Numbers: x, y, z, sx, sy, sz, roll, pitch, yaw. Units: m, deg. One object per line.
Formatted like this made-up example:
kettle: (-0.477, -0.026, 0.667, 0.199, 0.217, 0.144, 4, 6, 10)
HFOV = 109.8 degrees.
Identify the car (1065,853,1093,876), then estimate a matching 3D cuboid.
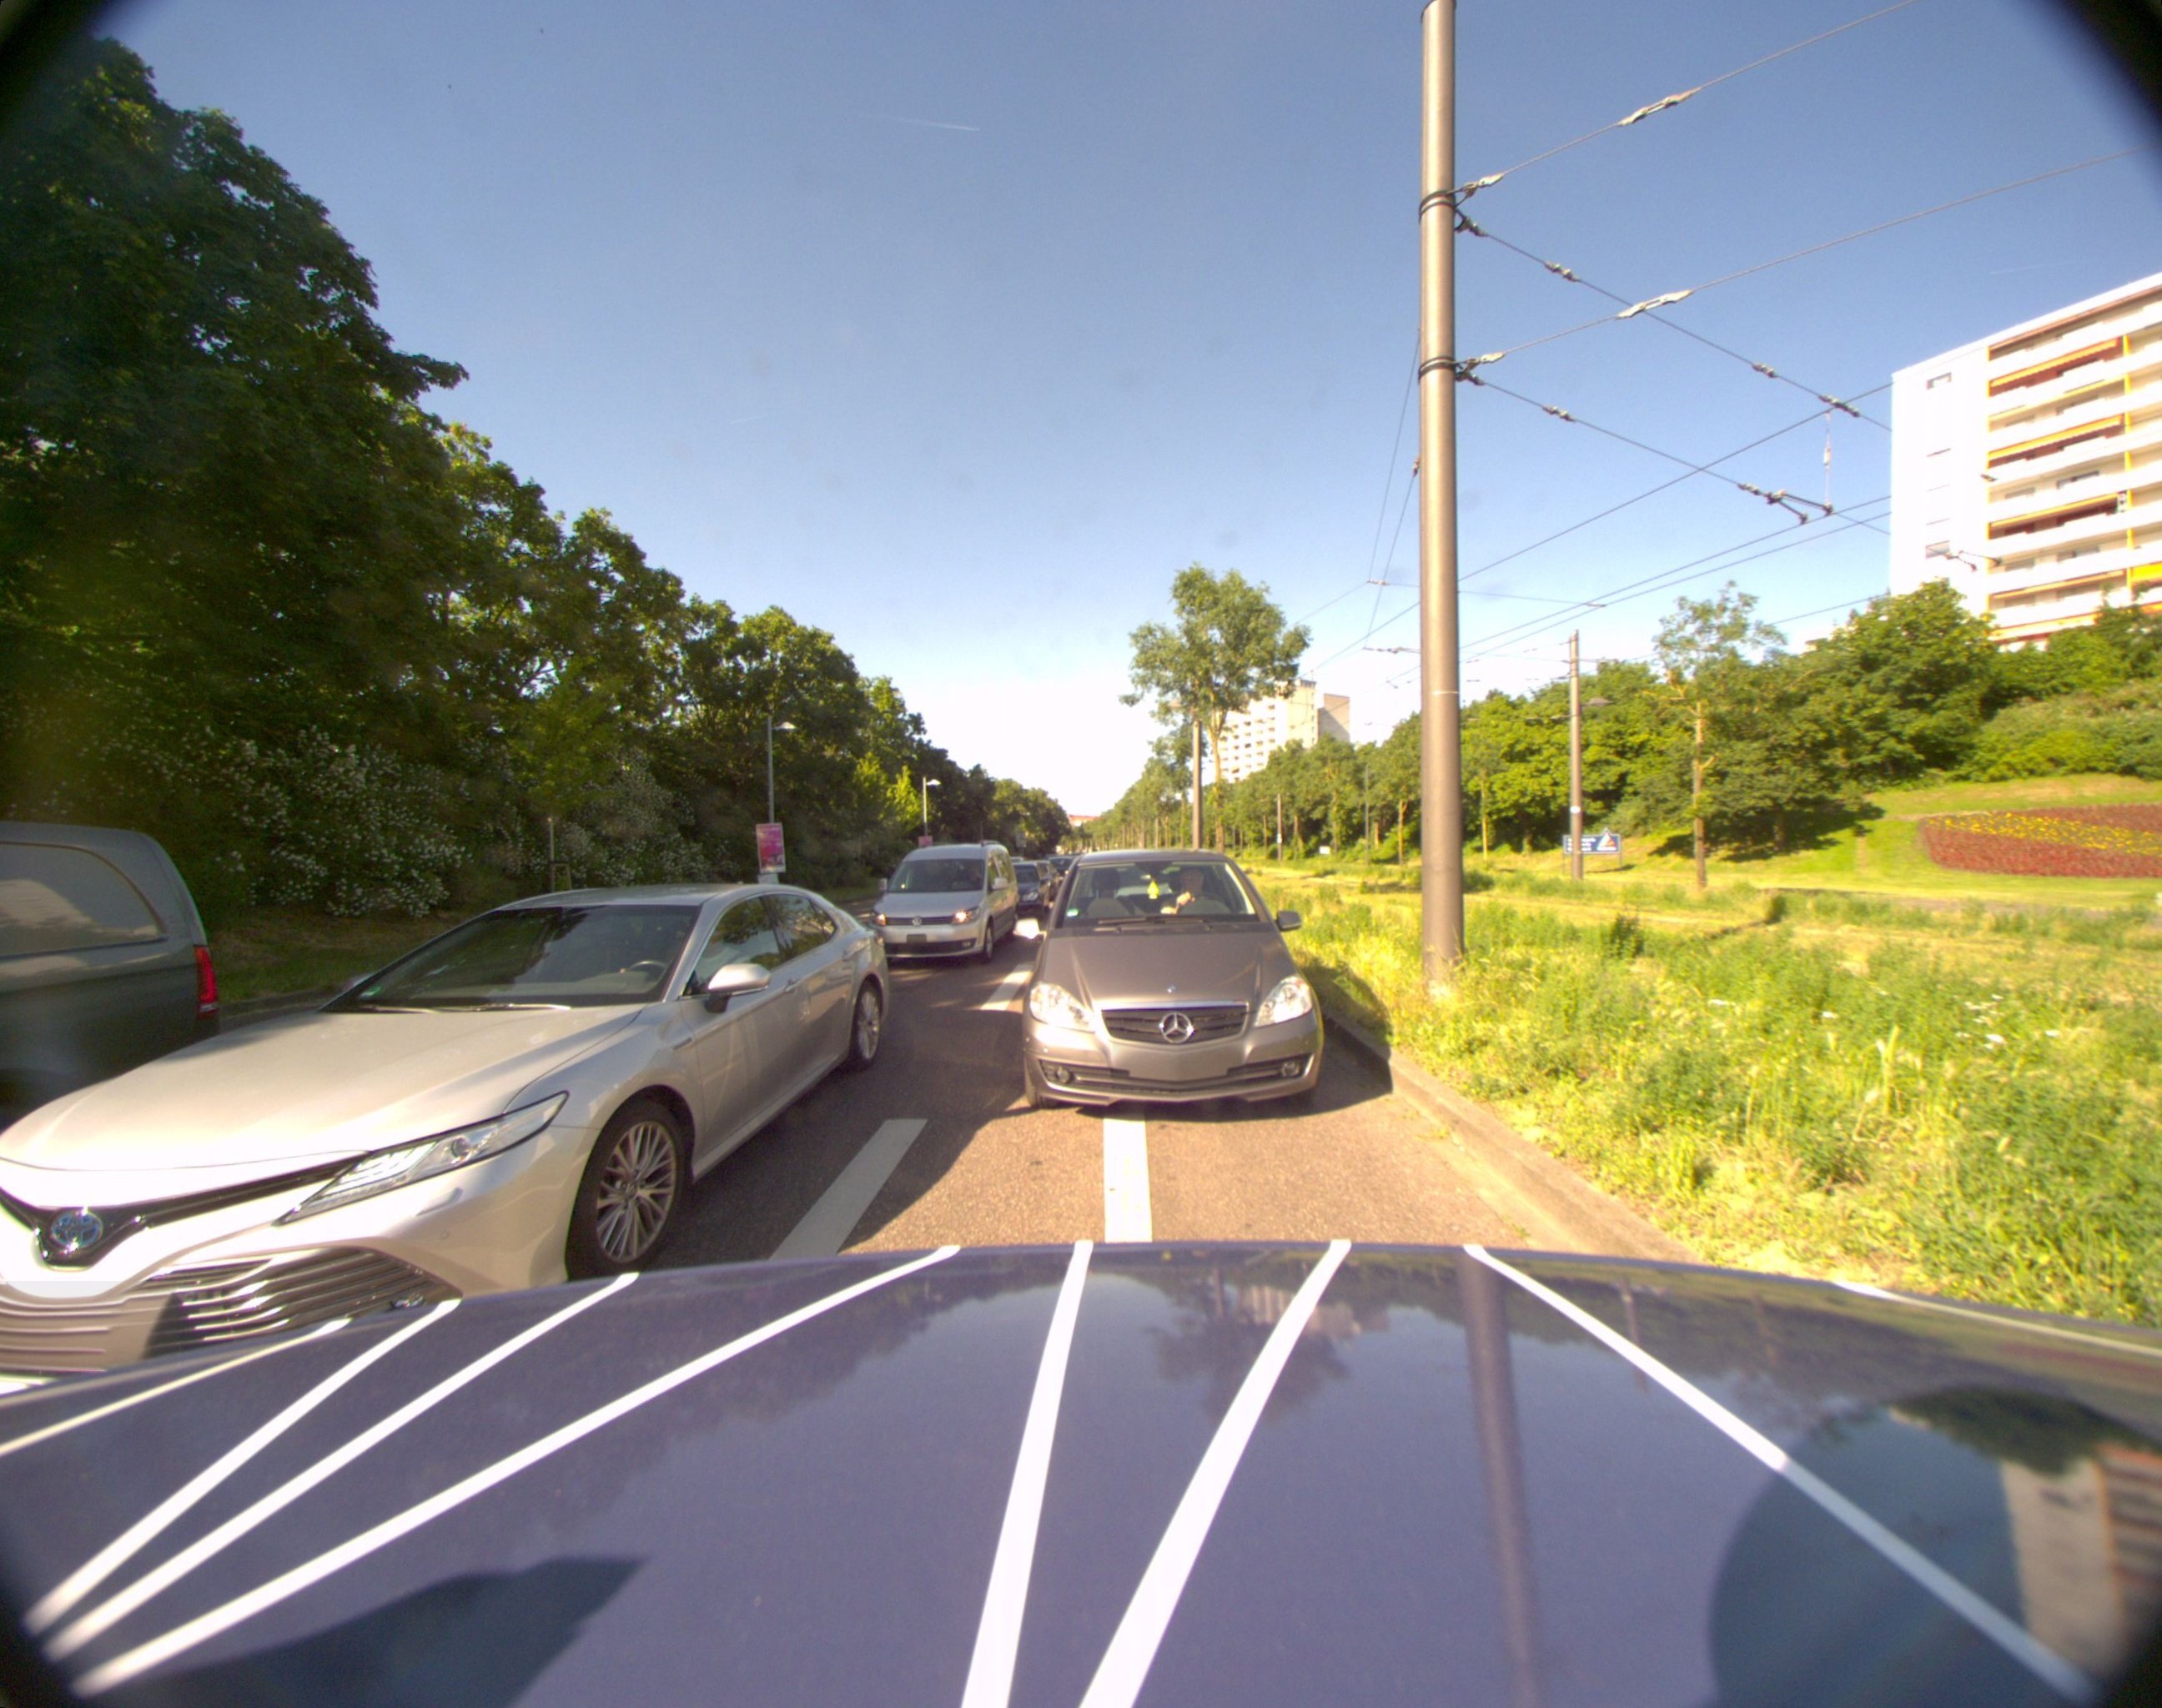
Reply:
car: (-0.079, 0.652, 50.711, 1.713, 1.430, 4.171, -2, 0, 1)

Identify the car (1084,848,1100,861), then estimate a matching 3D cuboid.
car: (1.336, 0.038, 90.836, 1.685, 1.437, 3.727, -2, 1, 2)

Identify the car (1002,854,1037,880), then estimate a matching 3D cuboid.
car: (-3.724, 0.775, 46.644, 1.713, 1.430, 4.171, -2, 0, 1)

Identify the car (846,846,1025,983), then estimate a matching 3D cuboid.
car: (-2.153, 0.804, 12.630, 1.808, 1.811, 4.587, -2, 1, 3)

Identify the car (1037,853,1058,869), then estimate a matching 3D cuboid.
car: (-3.158, 0.643, 71.659, 1.713, 1.430, 4.171, -1, 0, 1)

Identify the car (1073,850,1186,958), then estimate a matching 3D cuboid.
car: (0.804, 0.787, 14.138, 1.749, 1.652, 3.999, -2, 1, 1)

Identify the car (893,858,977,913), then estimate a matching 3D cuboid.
car: (-4.701, 0.968, 25.064, 1.772, 1.499, 4.225, -2, 1, 2)

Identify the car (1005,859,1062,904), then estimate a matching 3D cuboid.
car: (-1.632, 0.940, 27.358, 1.723, 1.411, 4.050, -1, 0, 1)

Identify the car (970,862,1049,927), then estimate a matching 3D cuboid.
car: (-1.742, 0.967, 19.771, 1.717, 1.445, 4.197, -1, 0, -1)

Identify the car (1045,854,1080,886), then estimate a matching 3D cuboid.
car: (-0.930, 0.797, 39.158, 1.621, 1.485, 3.452, -2, 1, 0)

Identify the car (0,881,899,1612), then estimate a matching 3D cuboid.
car: (-2.541, 1.007, 4.088, 1.809, 1.484, 4.682, -2, 0, 2)

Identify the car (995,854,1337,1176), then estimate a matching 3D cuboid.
car: (0.476, 0.857, 6.020, 1.749, 1.630, 4.000, -2, 0, 1)

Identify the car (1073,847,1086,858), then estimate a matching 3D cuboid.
car: (-0.208, -0.234, 121.868, 1.844, 1.679, 3.999, -2, 1, 1)

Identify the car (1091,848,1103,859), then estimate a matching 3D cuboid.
car: (2.301, -0.056, 109.899, 1.685, 1.437, 3.727, -2, 1, 2)

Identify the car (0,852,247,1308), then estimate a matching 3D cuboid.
car: (-5.356, 0.927, 1.417, 1.808, 1.841, 5.103, 0, 0, 3)
